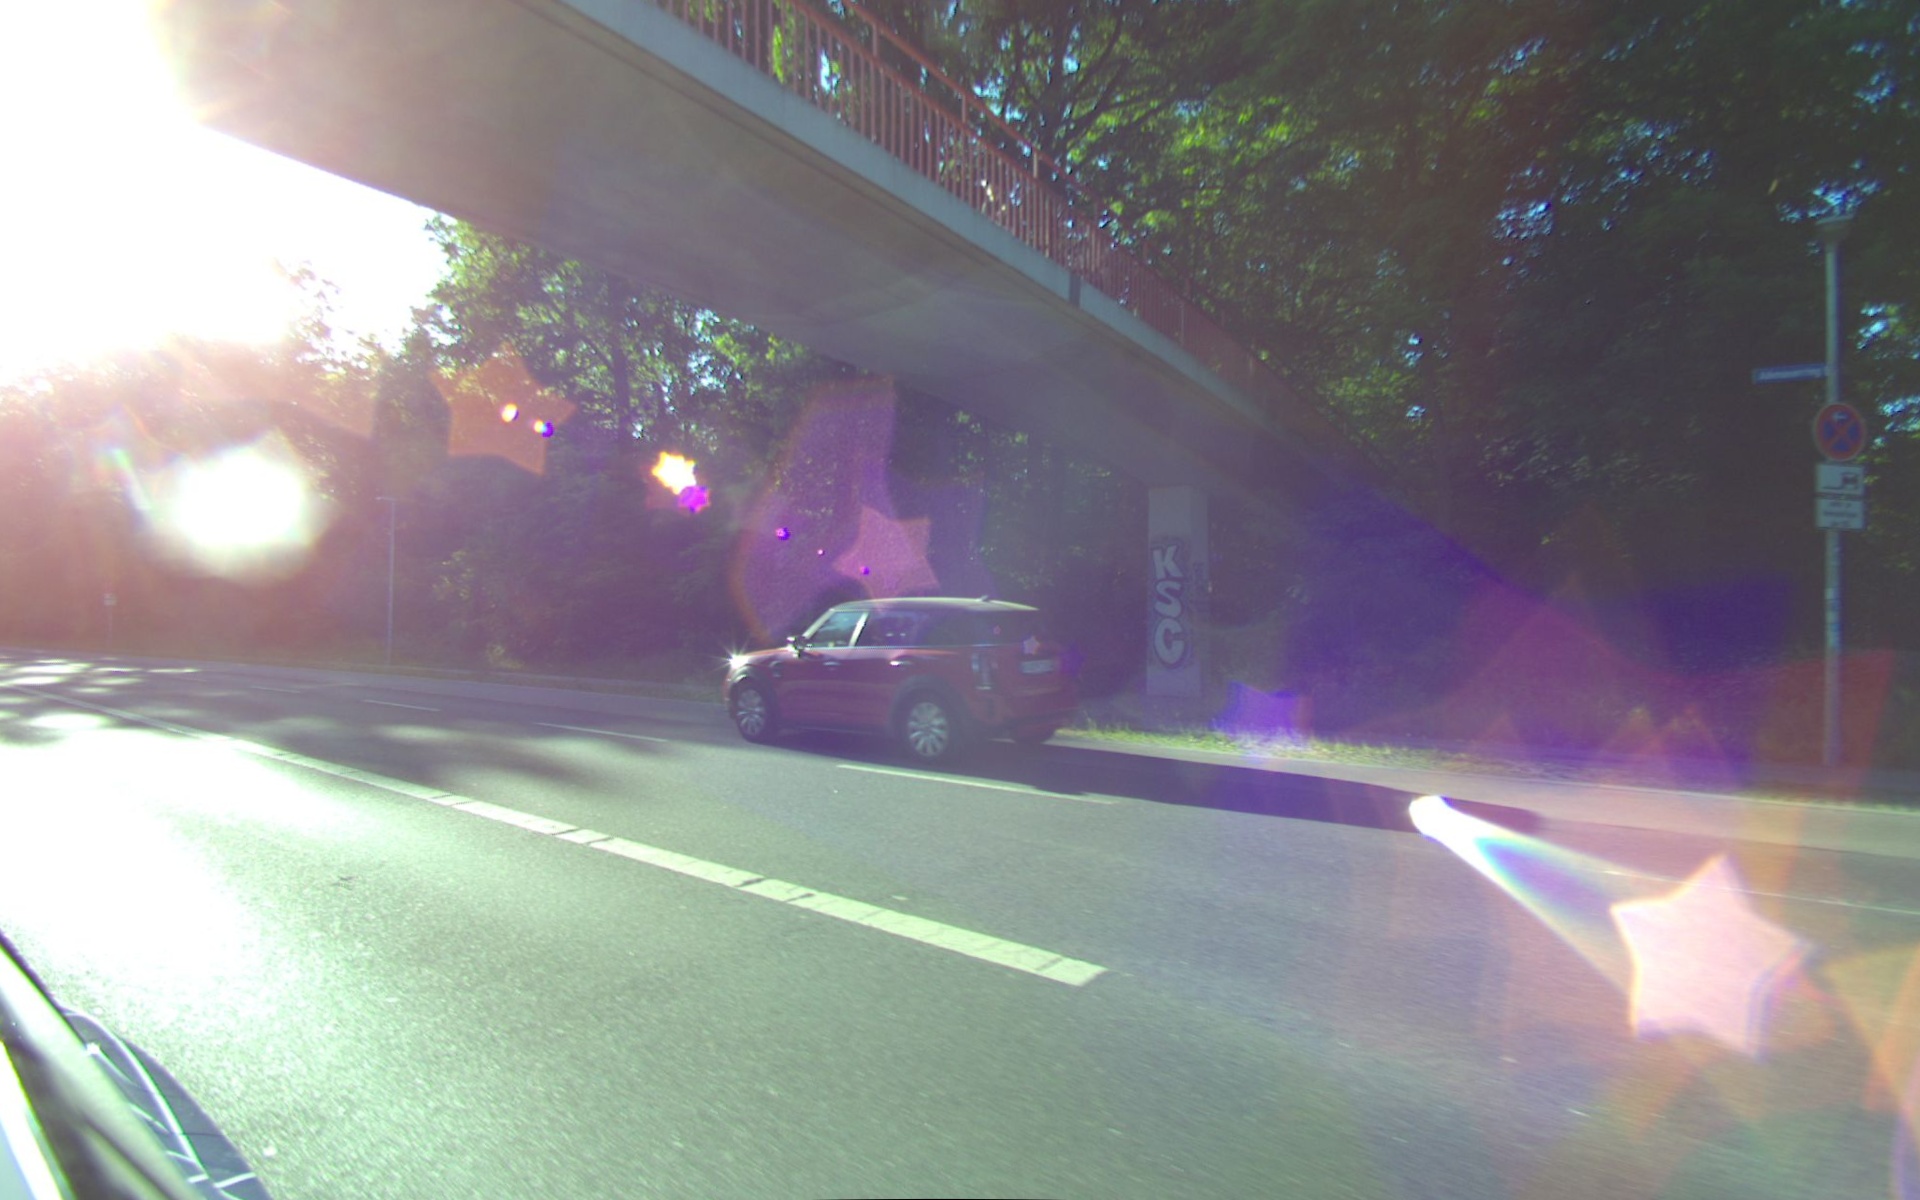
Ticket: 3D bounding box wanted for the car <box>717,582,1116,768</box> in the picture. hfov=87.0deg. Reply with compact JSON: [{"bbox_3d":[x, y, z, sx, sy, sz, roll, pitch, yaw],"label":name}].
[{"bbox_3d":[-0.598,0.697,10.715,4.165,1.595,1.743,-2,-2,41],"label":"car"}]
